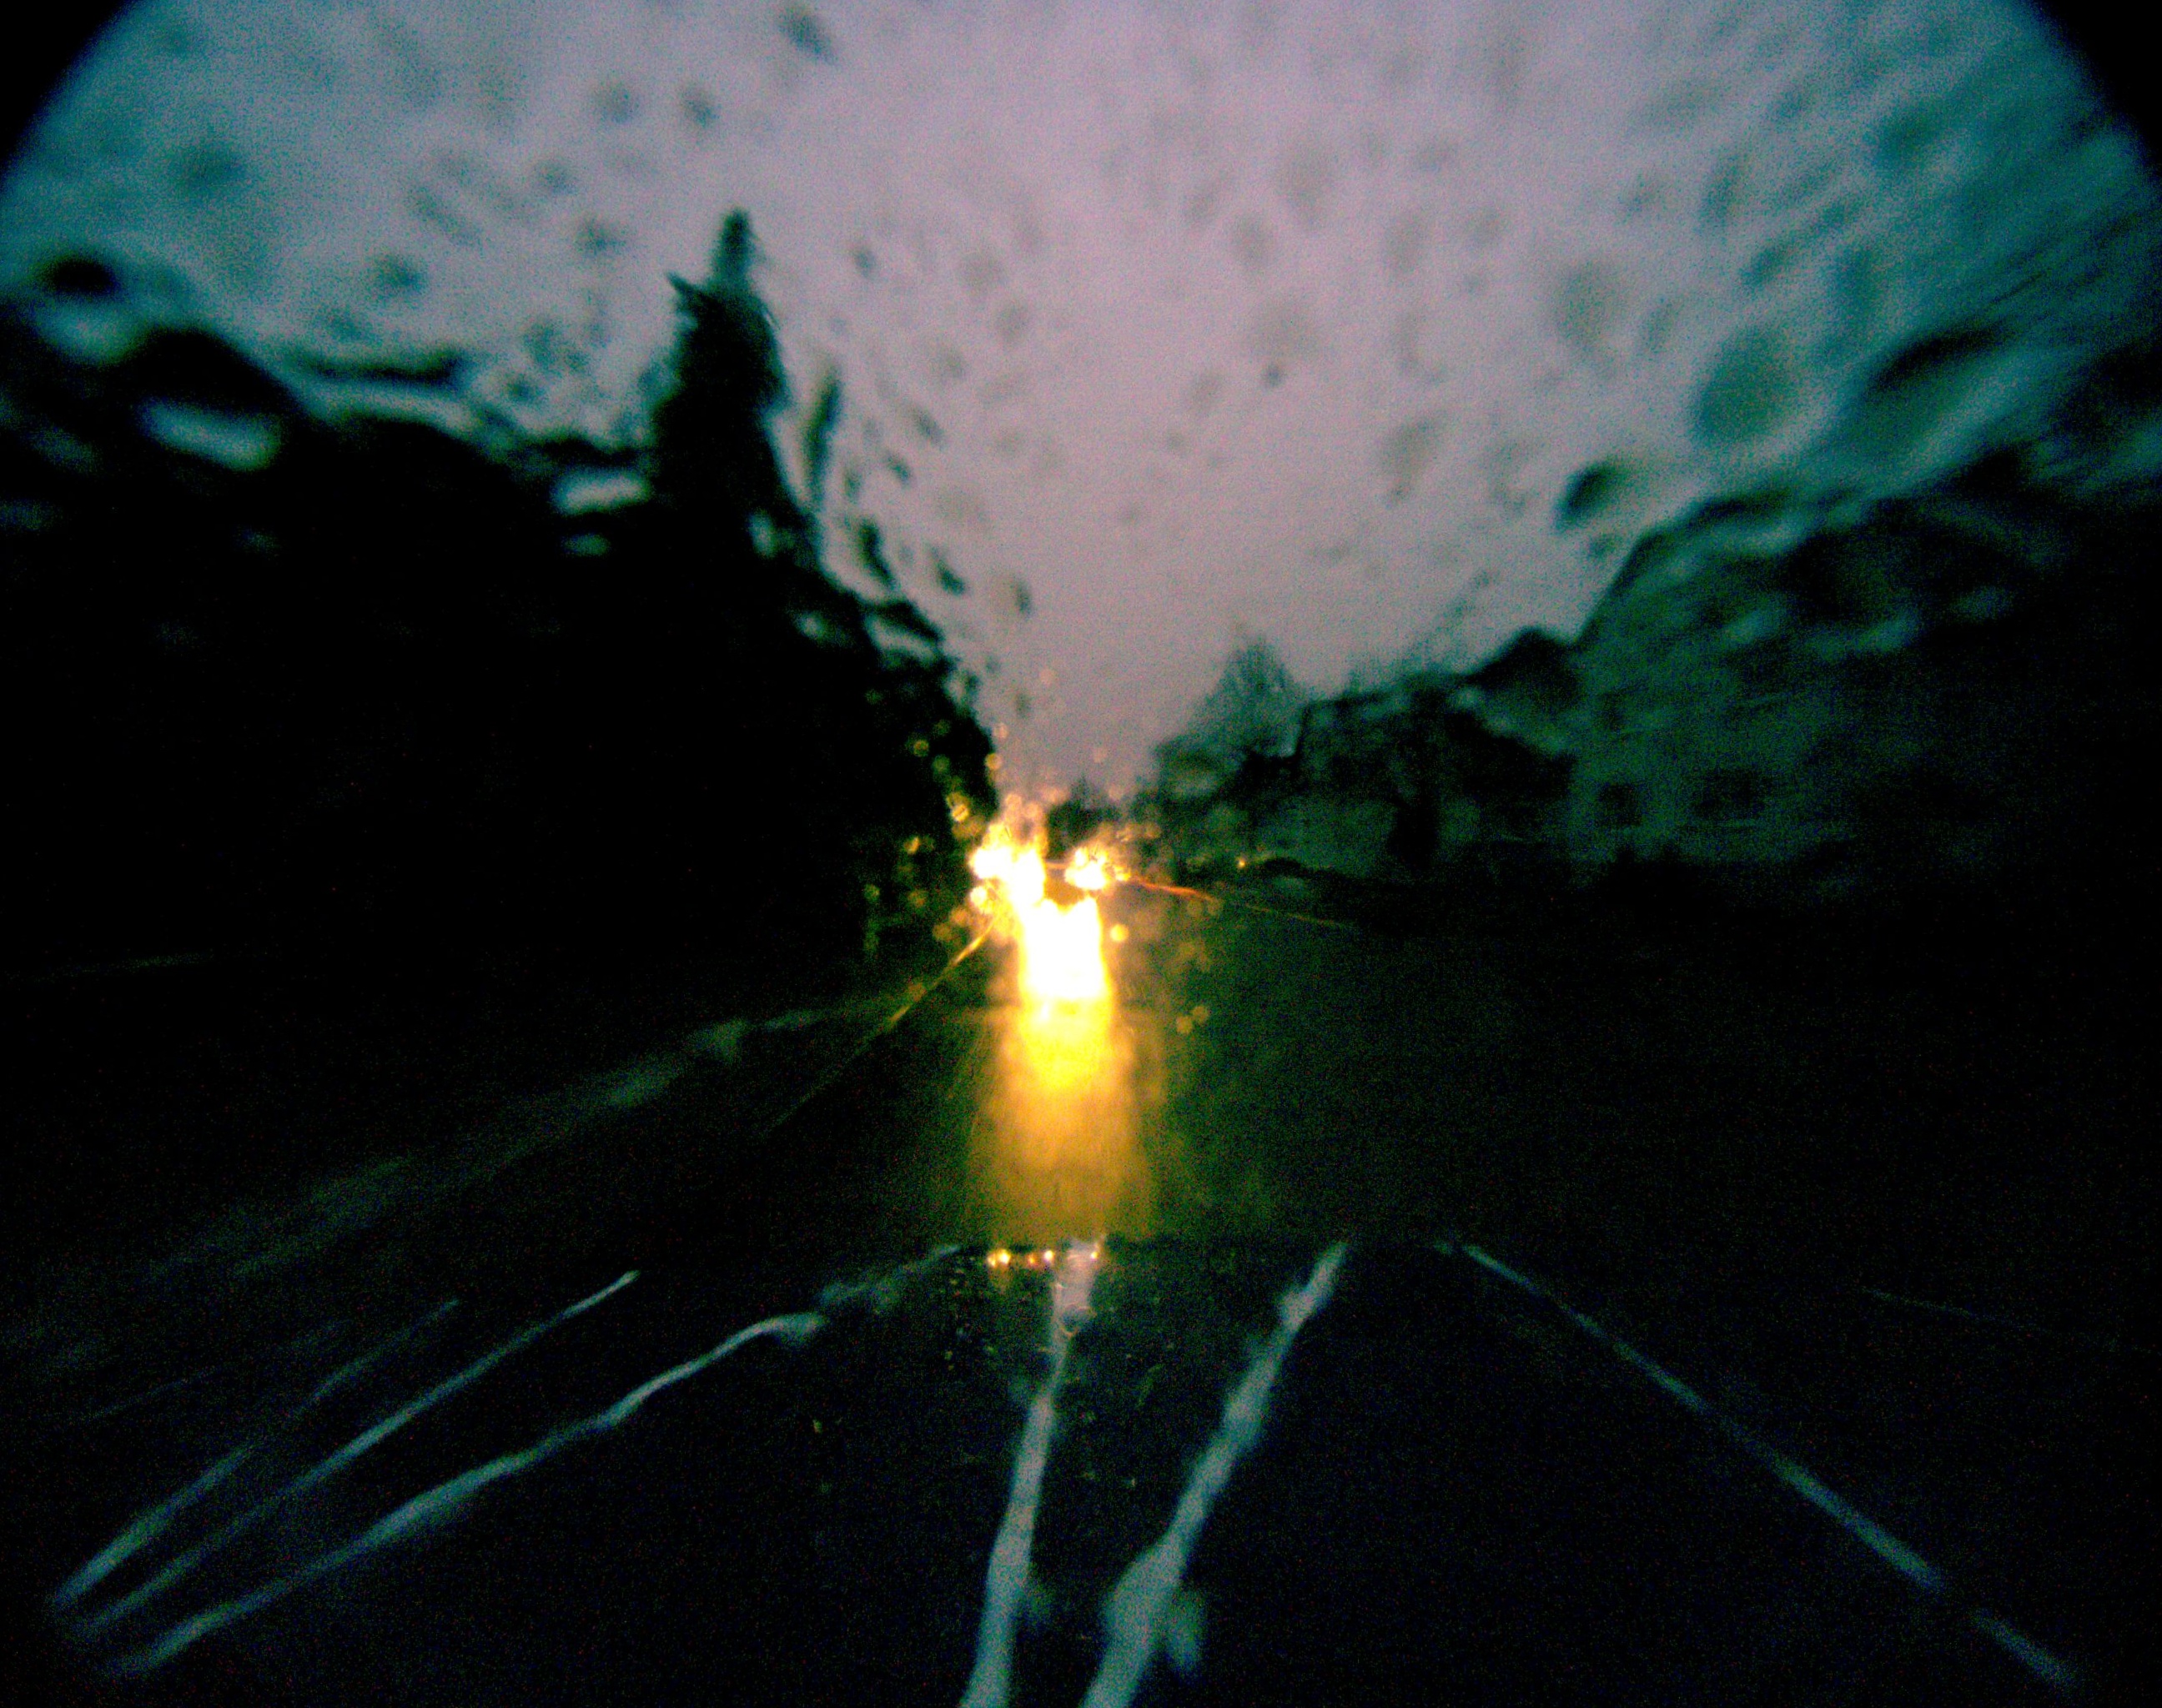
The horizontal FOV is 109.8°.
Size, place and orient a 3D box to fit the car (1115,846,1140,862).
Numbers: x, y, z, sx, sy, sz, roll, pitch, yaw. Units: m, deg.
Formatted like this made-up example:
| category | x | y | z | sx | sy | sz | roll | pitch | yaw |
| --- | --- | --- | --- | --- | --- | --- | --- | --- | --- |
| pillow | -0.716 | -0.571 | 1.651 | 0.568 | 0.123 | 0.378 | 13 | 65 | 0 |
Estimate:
| category | x | y | z | sx | sy | sz | roll | pitch | yaw |
| --- | --- | --- | --- | --- | --- | --- | --- | --- | --- |
| car | 5.260 | -0.005 | 86.342 | 2.000 | 1.745 | 4.564 | 0 | 0 | -8 |

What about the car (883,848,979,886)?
| category | x | y | z | sx | sy | sz | roll | pitch | yaw |
| --- | --- | --- | --- | --- | --- | --- | --- | --- | --- |
| car | -7.103 | 0.610 | 36.260 | 4.337 | 1.722 | 1.998 | -1 | 1 | -9 |

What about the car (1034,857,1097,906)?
| category | x | y | z | sx | sy | sz | roll | pitch | yaw |
| --- | --- | --- | --- | --- | --- | --- | --- | --- | --- |
| car | -0.632 | 0.919 | 26.713 | 1.999 | 1.575 | 3.998 | 1 | 0 | -4 |

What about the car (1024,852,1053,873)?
| category | x | y | z | sx | sy | sz | roll | pitch | yaw |
| --- | --- | --- | --- | --- | --- | --- | --- | --- | --- |
| car | -3.465 | 0.661 | 60.992 | 2.000 | 1.660 | 3.997 | 0 | 0 | -8 |

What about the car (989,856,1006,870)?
| category | x | y | z | sx | sy | sz | roll | pitch | yaw |
| --- | --- | --- | --- | --- | --- | --- | --- | --- | --- |
| car | -10.041 | 1.013 | 90.976 | 1.777 | 1.608 | 3.869 | -1 | 1 | -9 |
